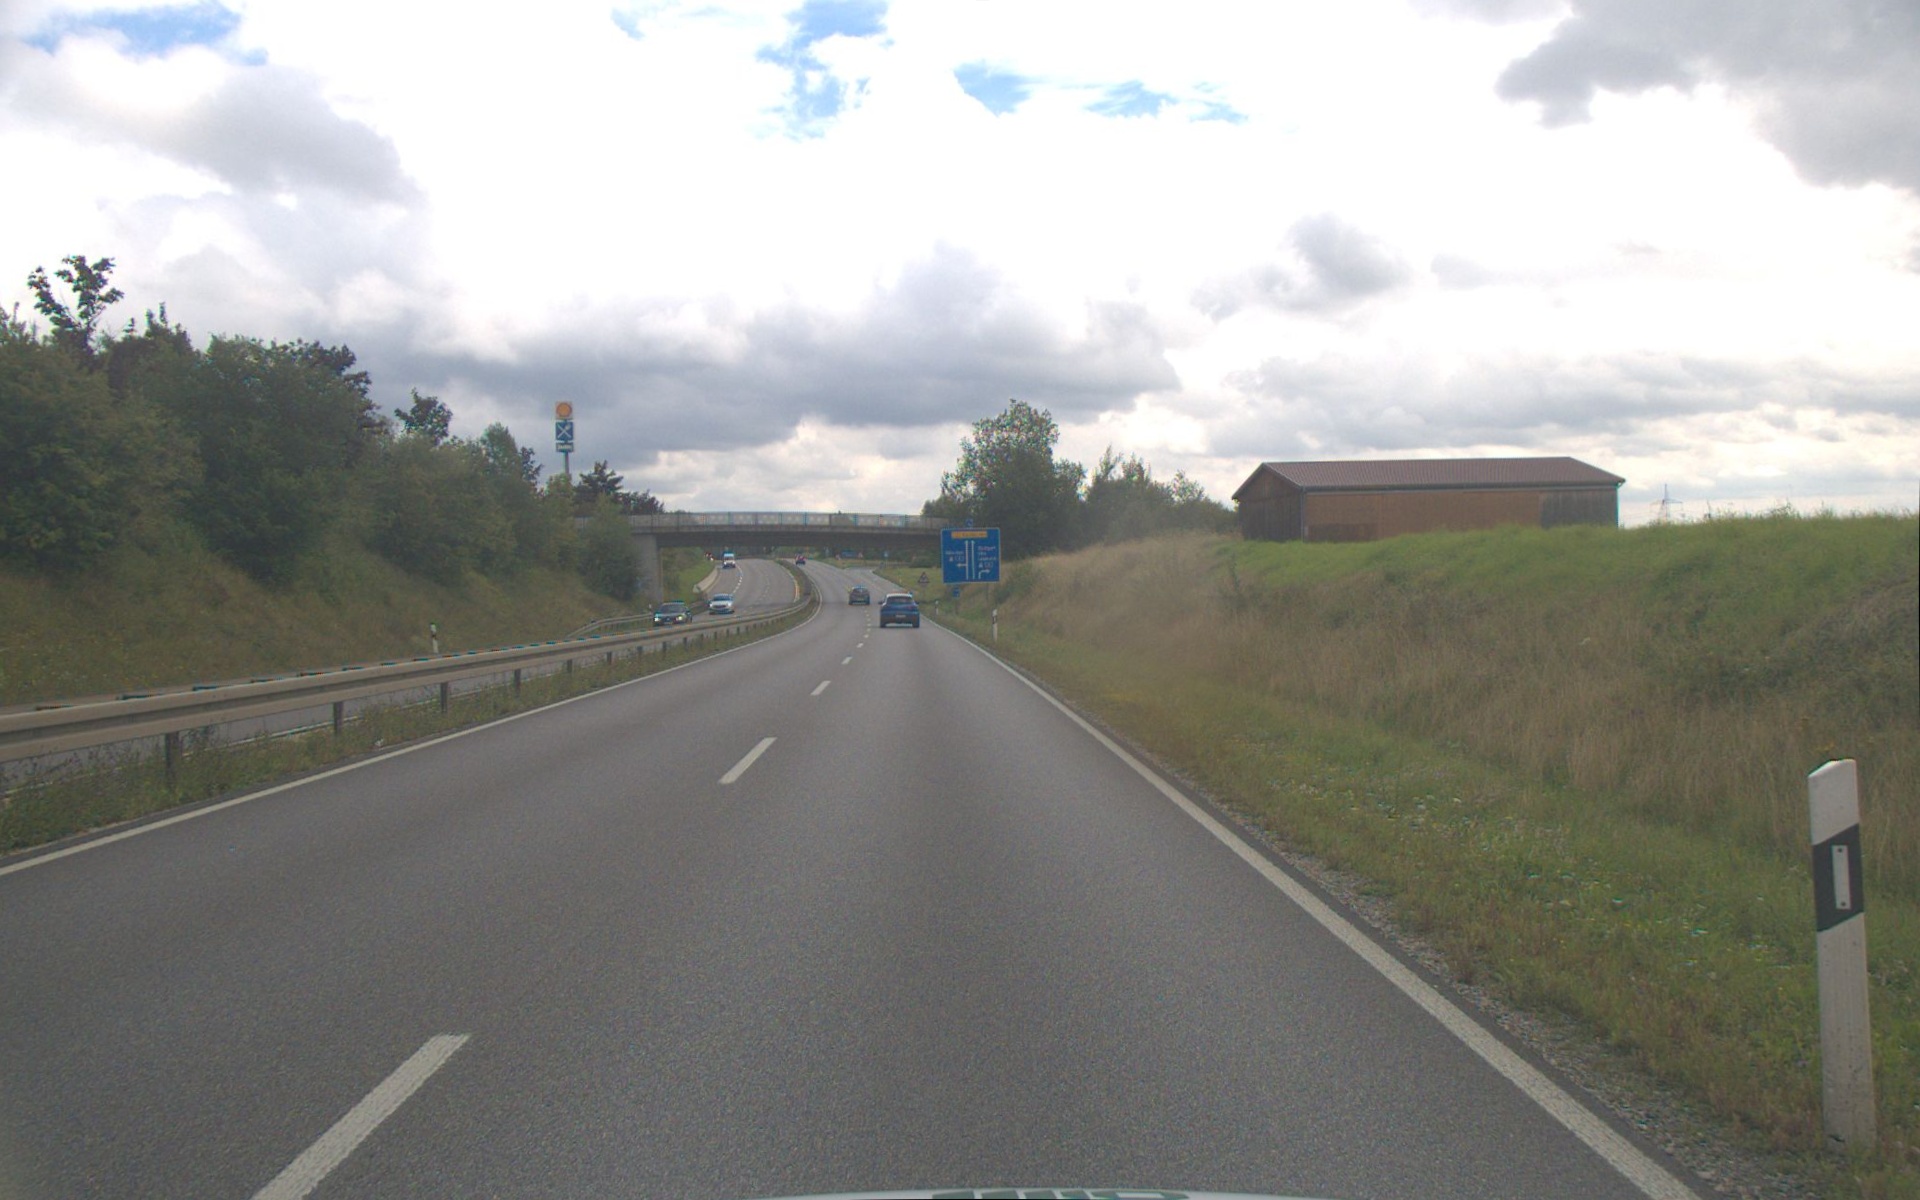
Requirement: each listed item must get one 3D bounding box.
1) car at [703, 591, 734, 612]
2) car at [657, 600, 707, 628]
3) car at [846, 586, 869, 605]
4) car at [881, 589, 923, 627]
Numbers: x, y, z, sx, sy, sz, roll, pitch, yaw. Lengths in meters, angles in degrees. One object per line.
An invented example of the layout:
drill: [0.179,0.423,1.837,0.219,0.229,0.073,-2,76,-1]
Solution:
car: [-18.635,0.100,127.618,1.954,1.478,3.998,-1,1,-3]
car: [-14.591,0.733,86.958,1.953,1.327,4.820,-1,1,-2]
car: [-8.763,-0.412,141.530,1.879,1.478,4.361,-1,1,-4]
car: [-2.853,0.350,80.811,1.992,1.689,4.541,0,2,-3]
